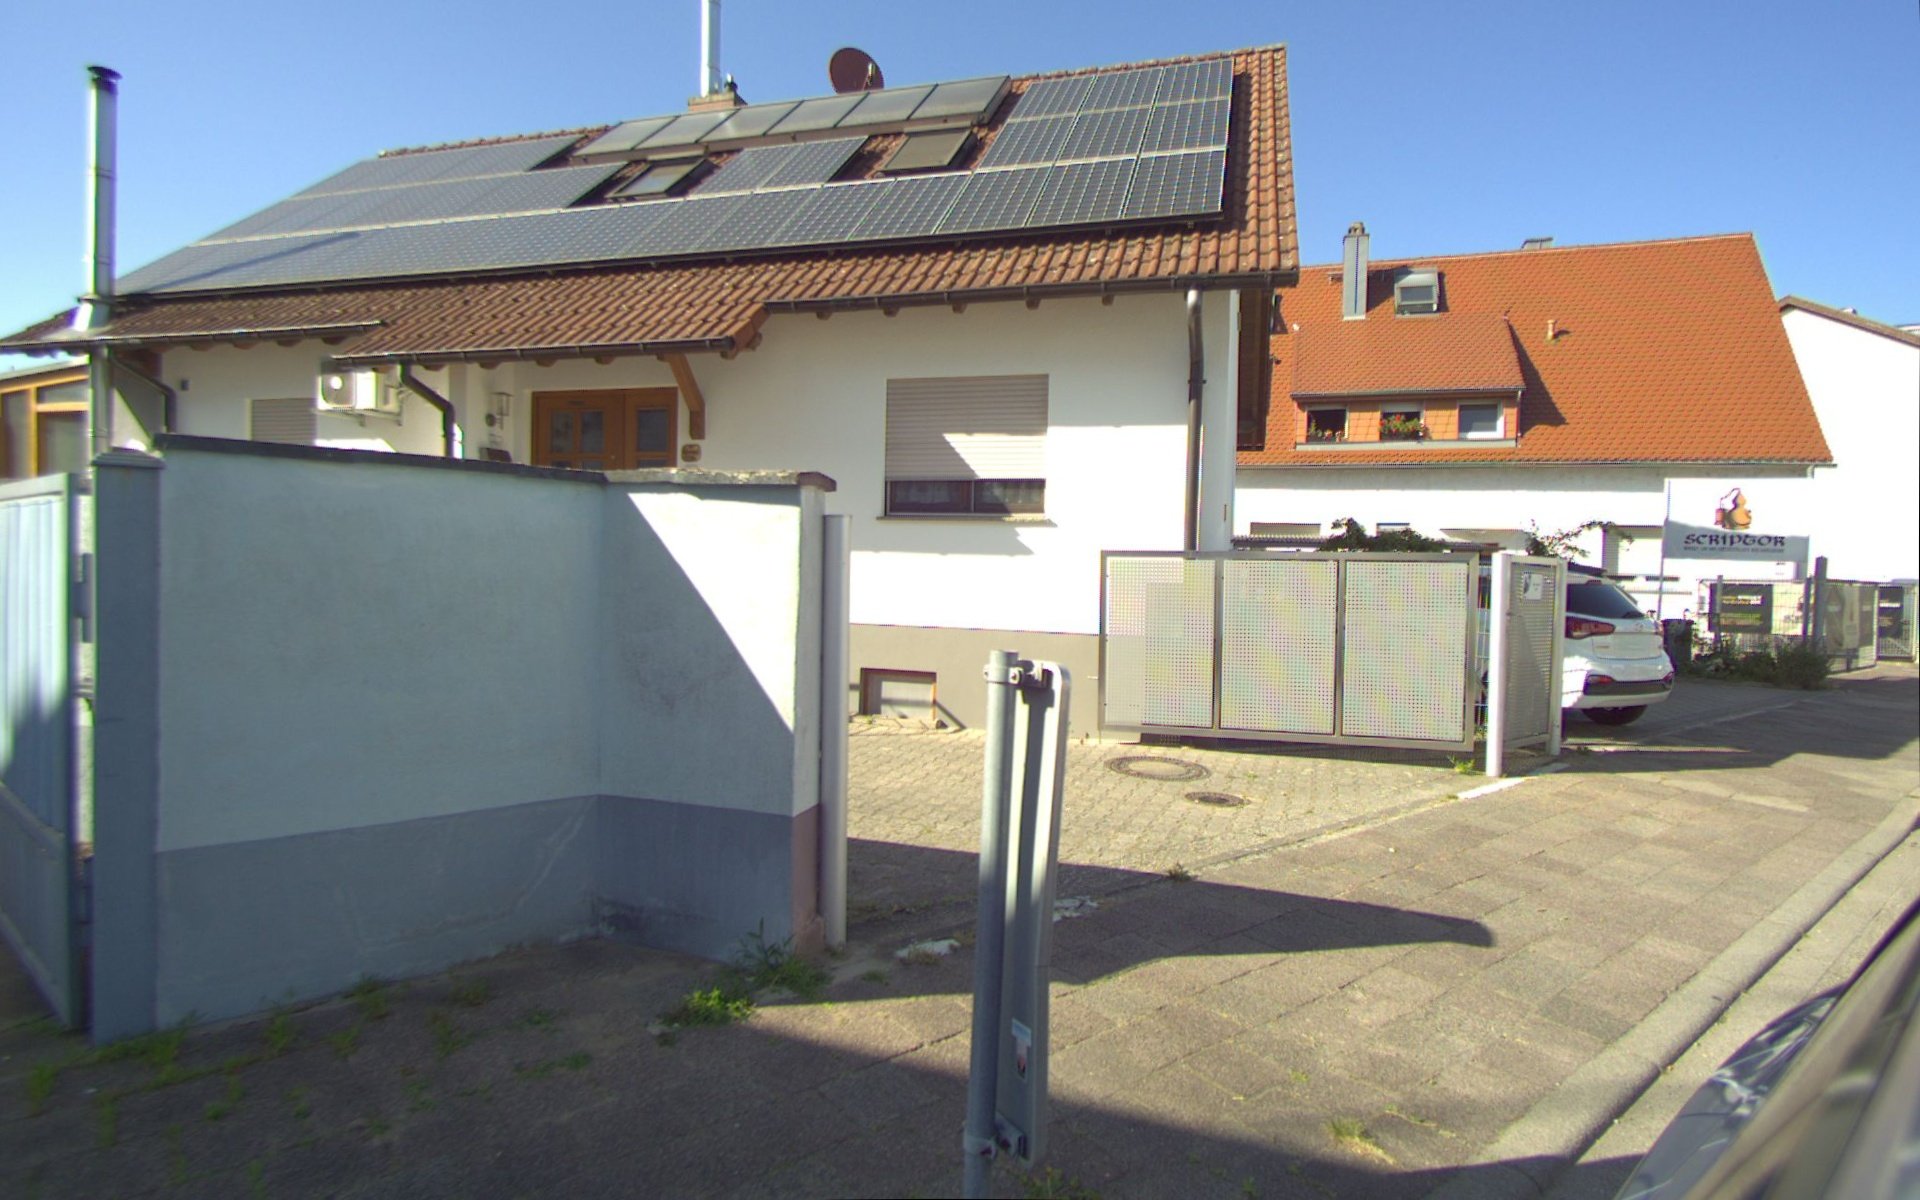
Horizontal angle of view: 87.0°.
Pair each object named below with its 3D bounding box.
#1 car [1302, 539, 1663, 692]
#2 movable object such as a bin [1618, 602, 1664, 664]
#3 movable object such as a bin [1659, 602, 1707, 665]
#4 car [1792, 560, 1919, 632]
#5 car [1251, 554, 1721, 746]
[{"bbox_3d":[6.873,0.114,13.719,4.008,1.709,1.895,3,2,25],"label":"car"},{"bbox_3d":[10.586,0.499,15.731,0.510,0.934,0.419,0,0,23],"label":"movable object such as a bin"},{"bbox_3d":[11.094,0.507,15.529,0.510,0.934,0.419,0,0,23],"label":"movable object such as a bin"},{"bbox_3d":[28.041,-0.073,30.215,4.764,1.909,1.879,6,4,43],"label":"car"},{"bbox_3d":[5.145,0.342,10.476,1.810,1.510,3.932,1,3,-29],"label":"car"}]
